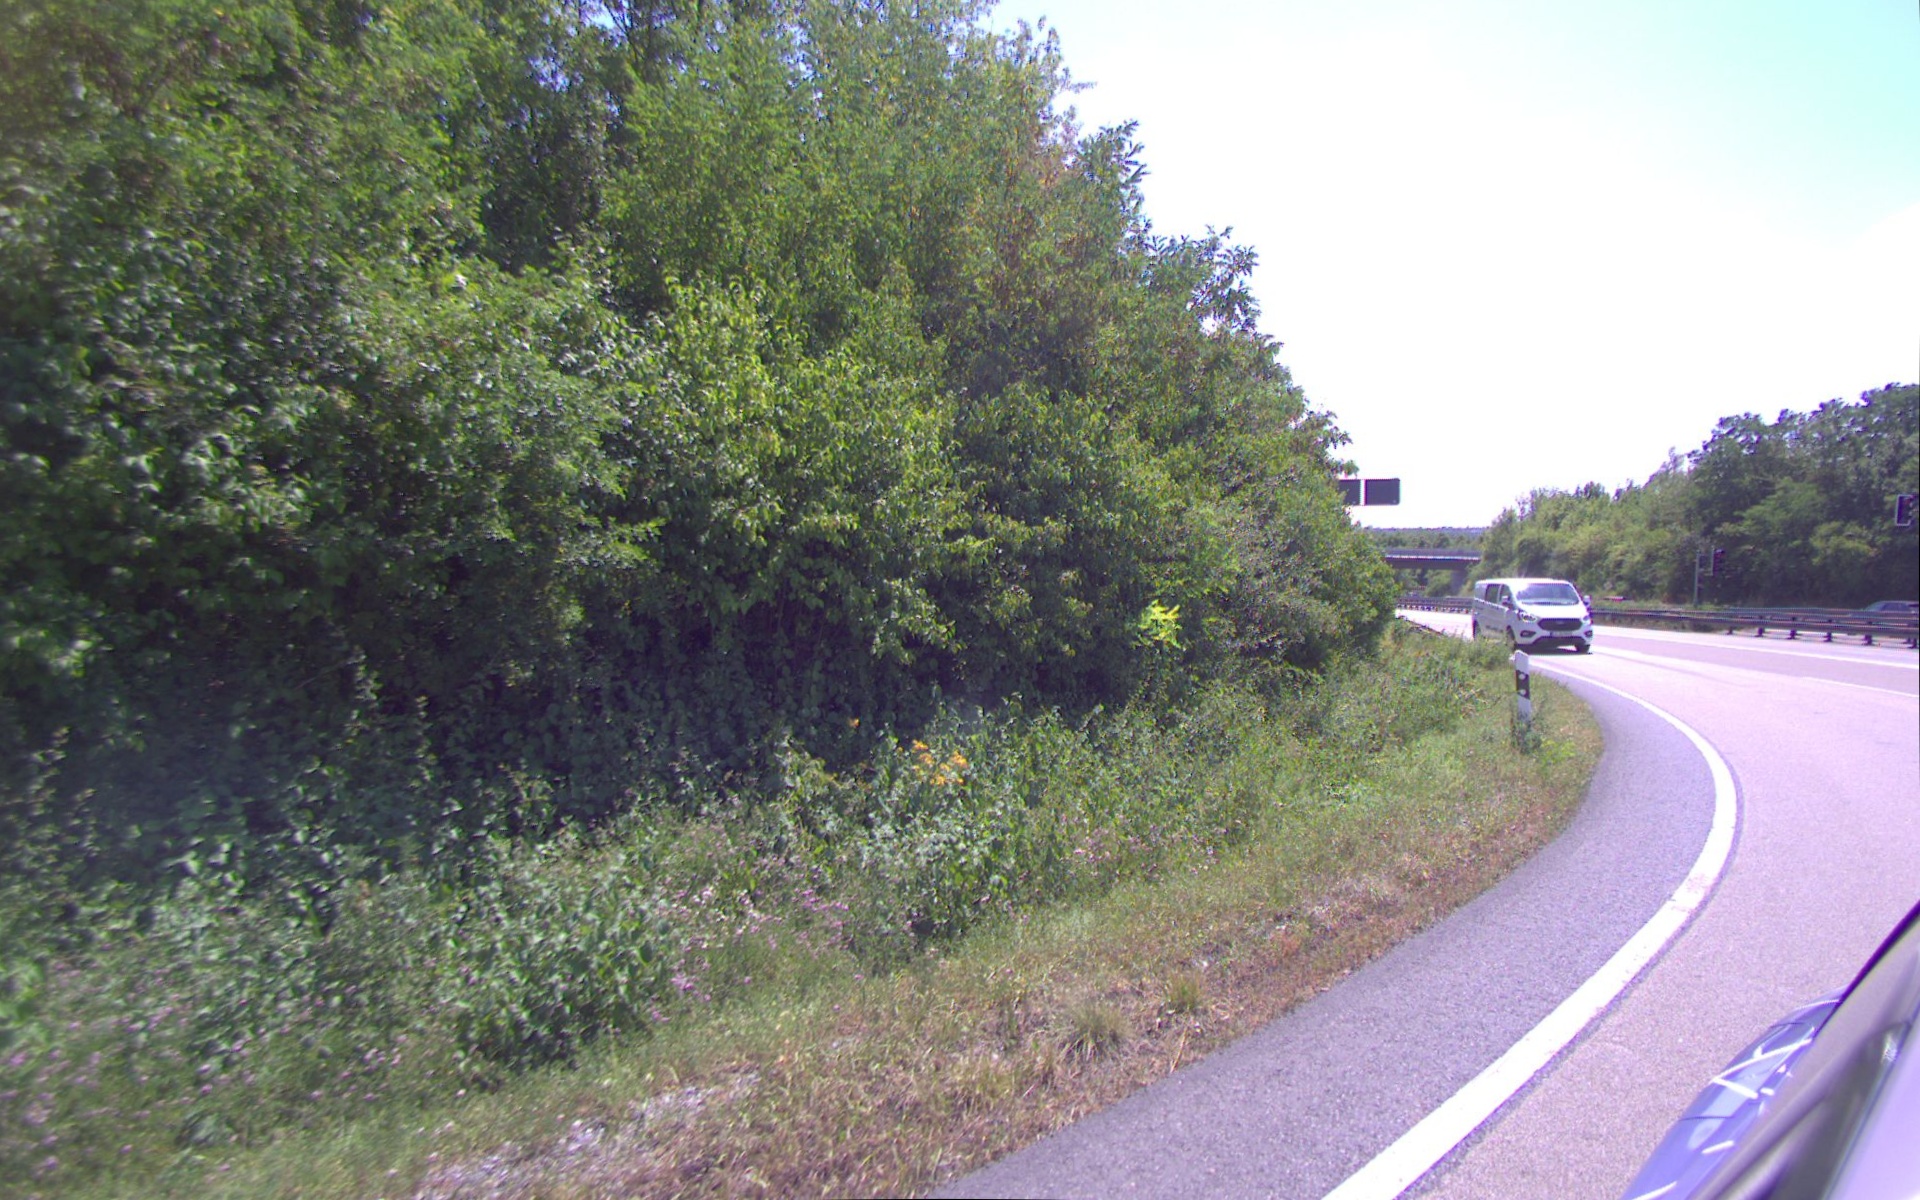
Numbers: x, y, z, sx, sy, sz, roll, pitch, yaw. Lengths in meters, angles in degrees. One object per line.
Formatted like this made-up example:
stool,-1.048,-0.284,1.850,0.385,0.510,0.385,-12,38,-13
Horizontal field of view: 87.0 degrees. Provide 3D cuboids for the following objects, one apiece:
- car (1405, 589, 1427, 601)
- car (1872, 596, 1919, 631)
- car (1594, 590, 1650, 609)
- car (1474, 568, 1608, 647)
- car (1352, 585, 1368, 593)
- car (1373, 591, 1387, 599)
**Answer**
car,62.242,-0.742,138.160,1.691,1.588,3.989,0,1,10
car,35.945,0.489,38.087,1.138,1.252,2.720,0,1,10
car,45.864,-0.033,70.163,1.677,1.237,3.369,0,1,1
car,16.524,0.177,29.102,2.034,2.039,5.018,-2,0,15
car,80.133,-2.214,202.852,2.100,1.530,4.457,0,1,12
car,73.345,-0.892,176.766,1.629,1.428,4.456,0,1,12
